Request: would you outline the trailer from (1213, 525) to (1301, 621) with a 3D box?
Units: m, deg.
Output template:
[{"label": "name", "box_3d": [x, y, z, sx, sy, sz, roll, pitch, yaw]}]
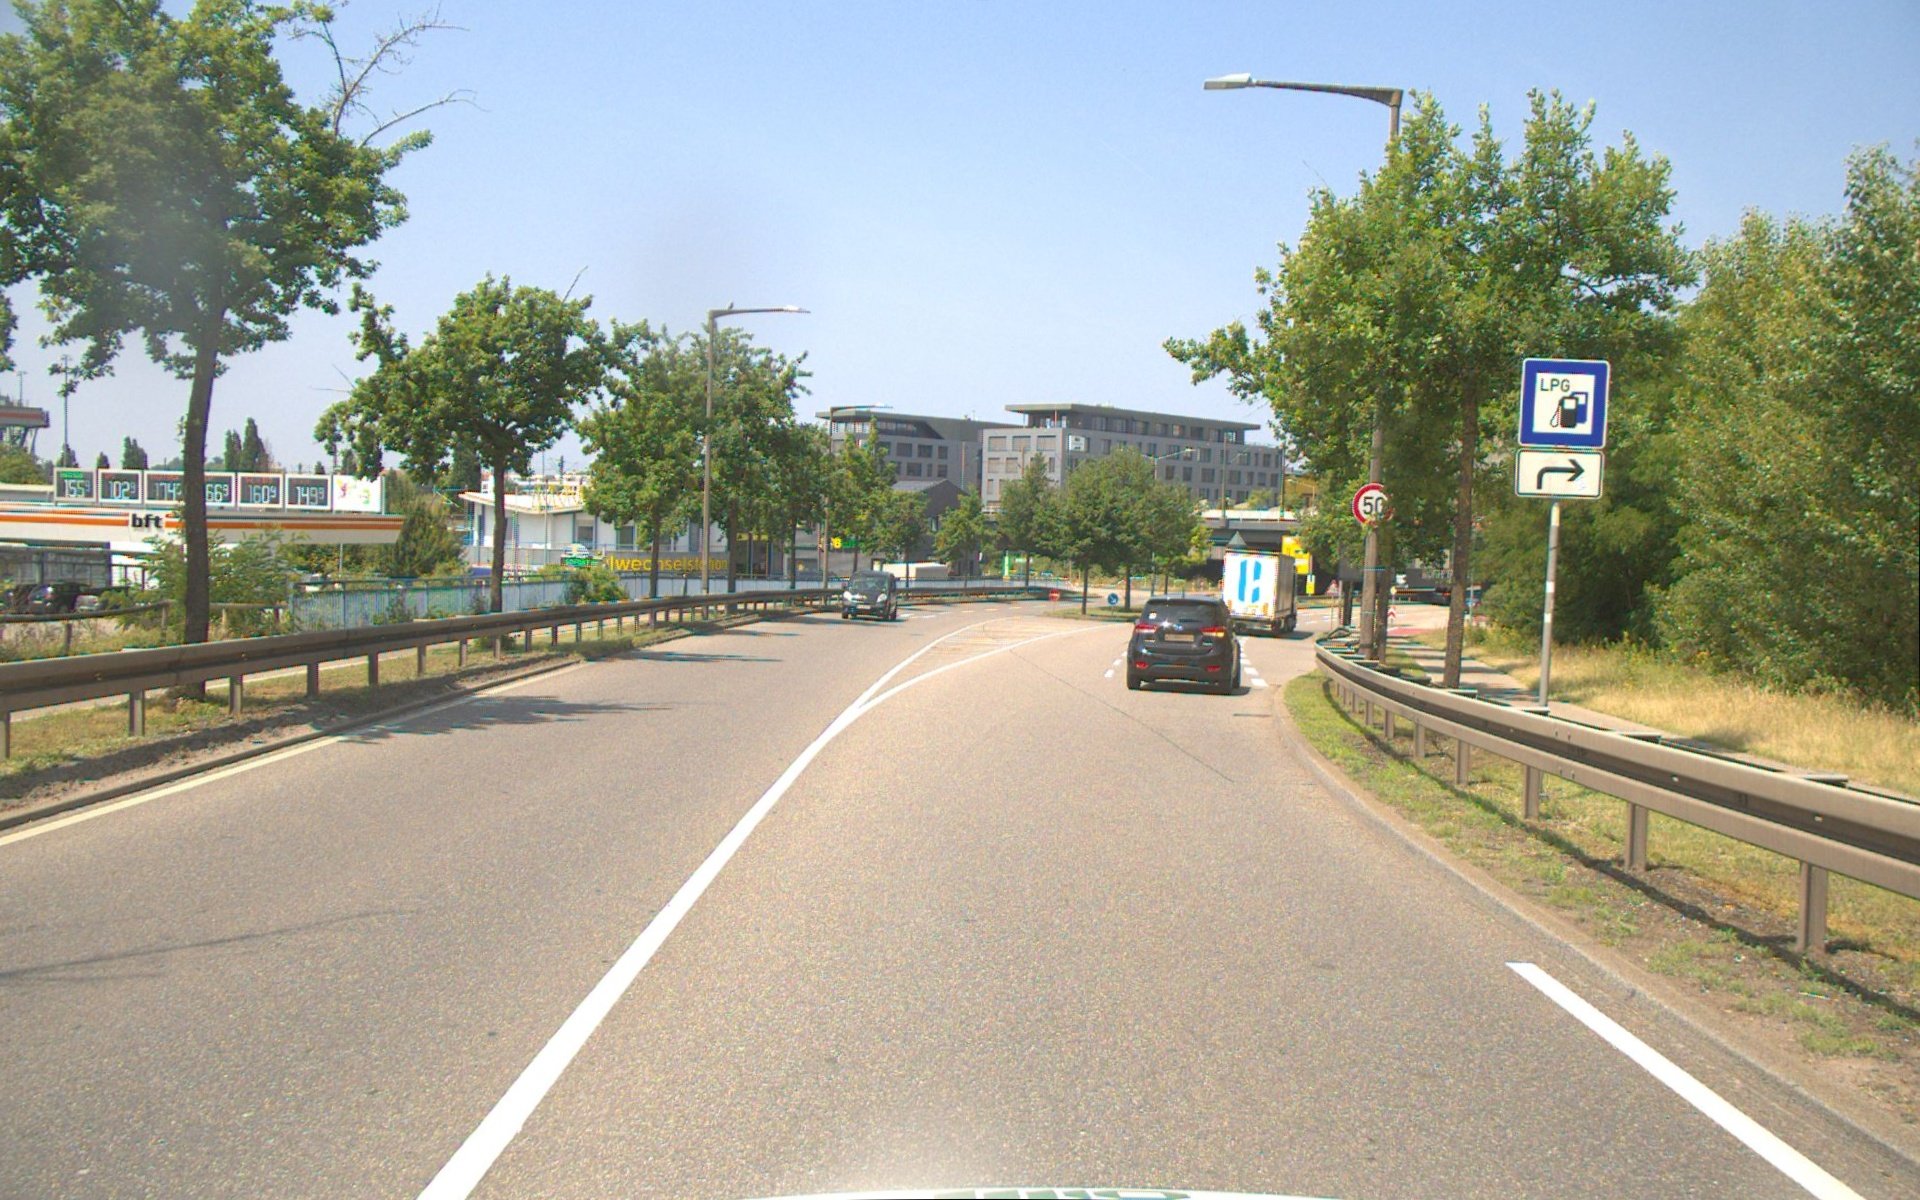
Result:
[{"label": "trailer", "box_3d": [15.402, -1.493, 84.825, 3.013, 4.444, 14.787, 2, 2, 15]}]

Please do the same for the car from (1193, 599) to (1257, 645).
[{"label": "car", "box_3d": [10.465, 0.834, 65.149, 1.915, 1.662, 4.282, 1, 1, 17]}]

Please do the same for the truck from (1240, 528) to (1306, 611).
[{"label": "truck", "box_3d": [17.567, -1.756, 92.618, 3.011, 4.444, 6.084, 2, 2, 15]}]

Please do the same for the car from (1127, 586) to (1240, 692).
[{"label": "car", "box_3d": [3.937, 0.613, 28.640, 1.729, 1.627, 4.081, 3, 1, 10]}]

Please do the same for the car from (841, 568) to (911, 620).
[{"label": "car", "box_3d": [-3.092, -0.231, 61.758, 1.769, 1.790, 4.255, 3, 1, 8]}]
